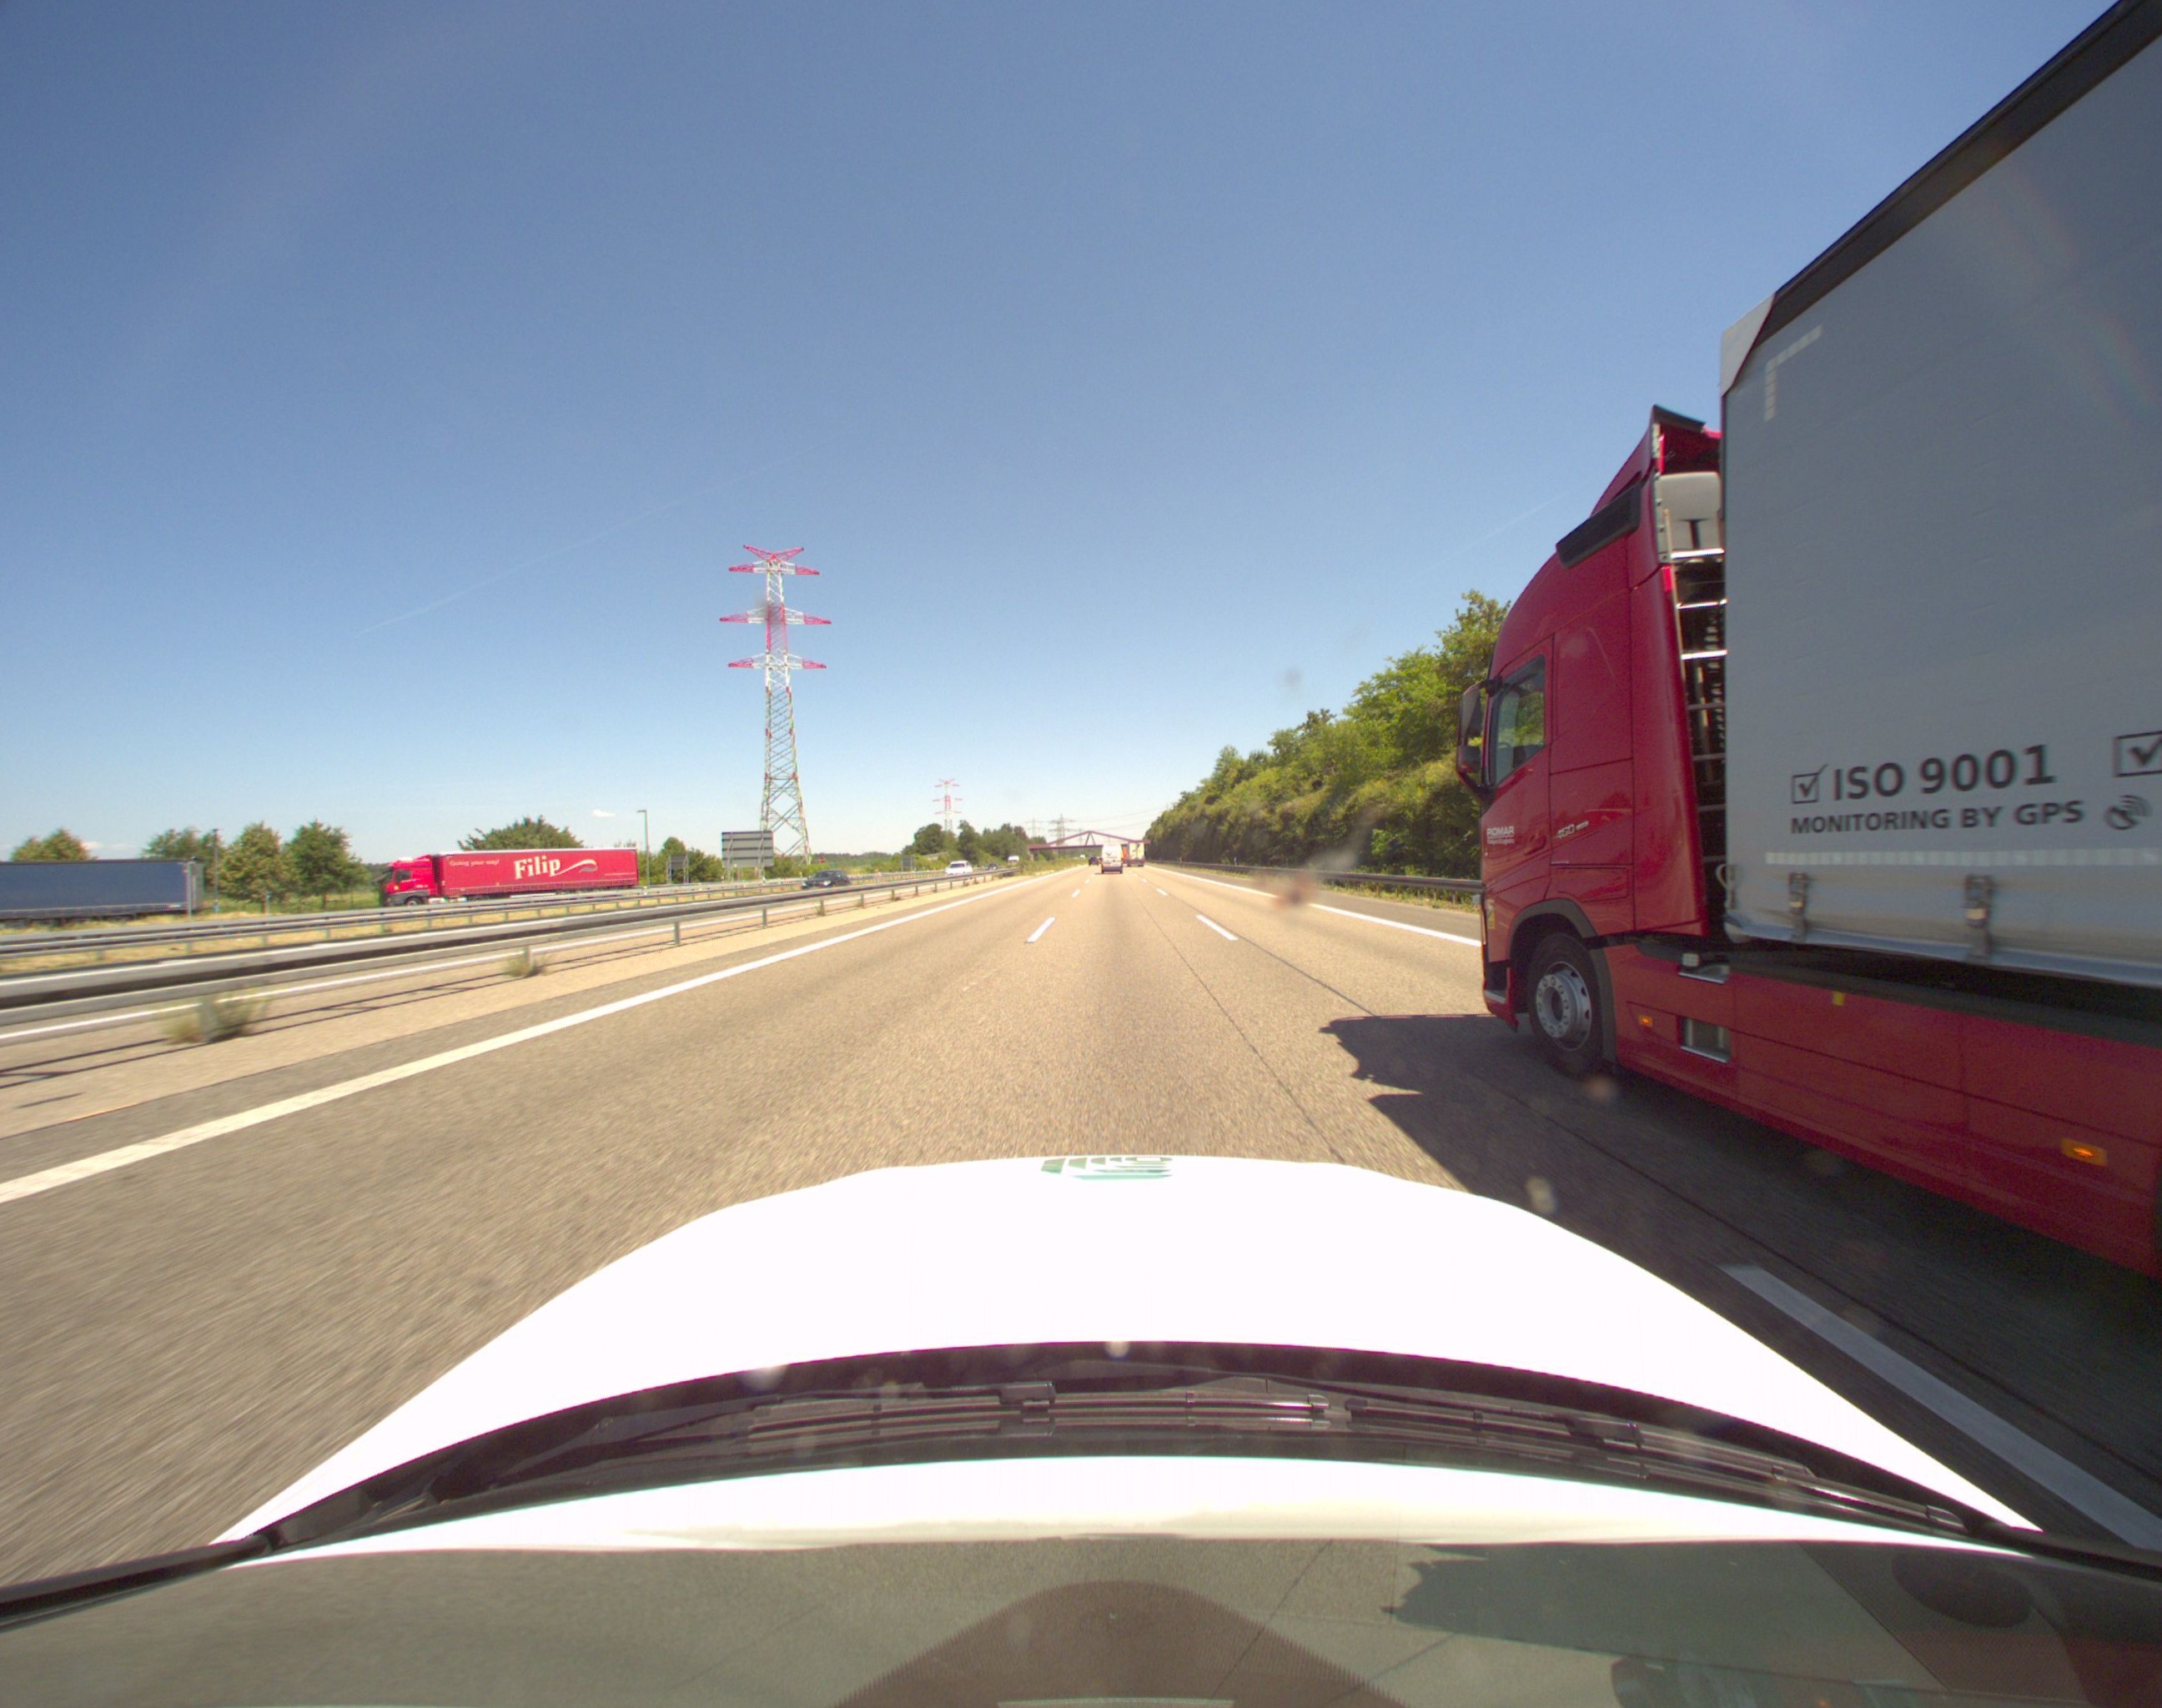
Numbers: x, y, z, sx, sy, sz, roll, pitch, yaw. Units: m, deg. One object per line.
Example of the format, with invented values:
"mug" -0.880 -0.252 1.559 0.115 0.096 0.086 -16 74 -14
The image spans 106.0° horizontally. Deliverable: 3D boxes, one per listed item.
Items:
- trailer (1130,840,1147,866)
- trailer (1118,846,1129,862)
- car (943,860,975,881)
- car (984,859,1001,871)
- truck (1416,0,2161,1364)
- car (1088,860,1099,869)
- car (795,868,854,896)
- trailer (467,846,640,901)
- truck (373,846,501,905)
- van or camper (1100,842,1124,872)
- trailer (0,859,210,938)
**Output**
"trailer" 9.442 -0.124 134.841 2.627 4.060 12.374 0 0 3
"trailer" 10.302 0.081 199.467 2.627 3.897 7.073 0 0 3
"car" -10.029 1.317 67.411 1.711 1.529 4.668 -4 0 2
"car" -13.088 1.589 120.640 1.947 1.810 5.047 0 0 1
"truck" 4.269 -0.551 3.930 2.490 3.920 7.098 -1 0 1
"car" 2.386 2.023 158.873 1.974 1.817 3.816 0 0 4
"car" -15.156 1.614 48.441 1.862 1.398 4.547 -4 0 2
"trailer" -42.193 1.486 65.784 3.091 4.055 11.385 0 0 36
"truck" -46.793 1.460 59.376 3.087 4.049 6.687 0 0 36
"van or camper" 2.974 0.315 78.522 2.222 2.782 5.425 0 0 2
"trailer" -58.412 2.445 46.777 11.122 4.266 3.129 0 -1 -41
